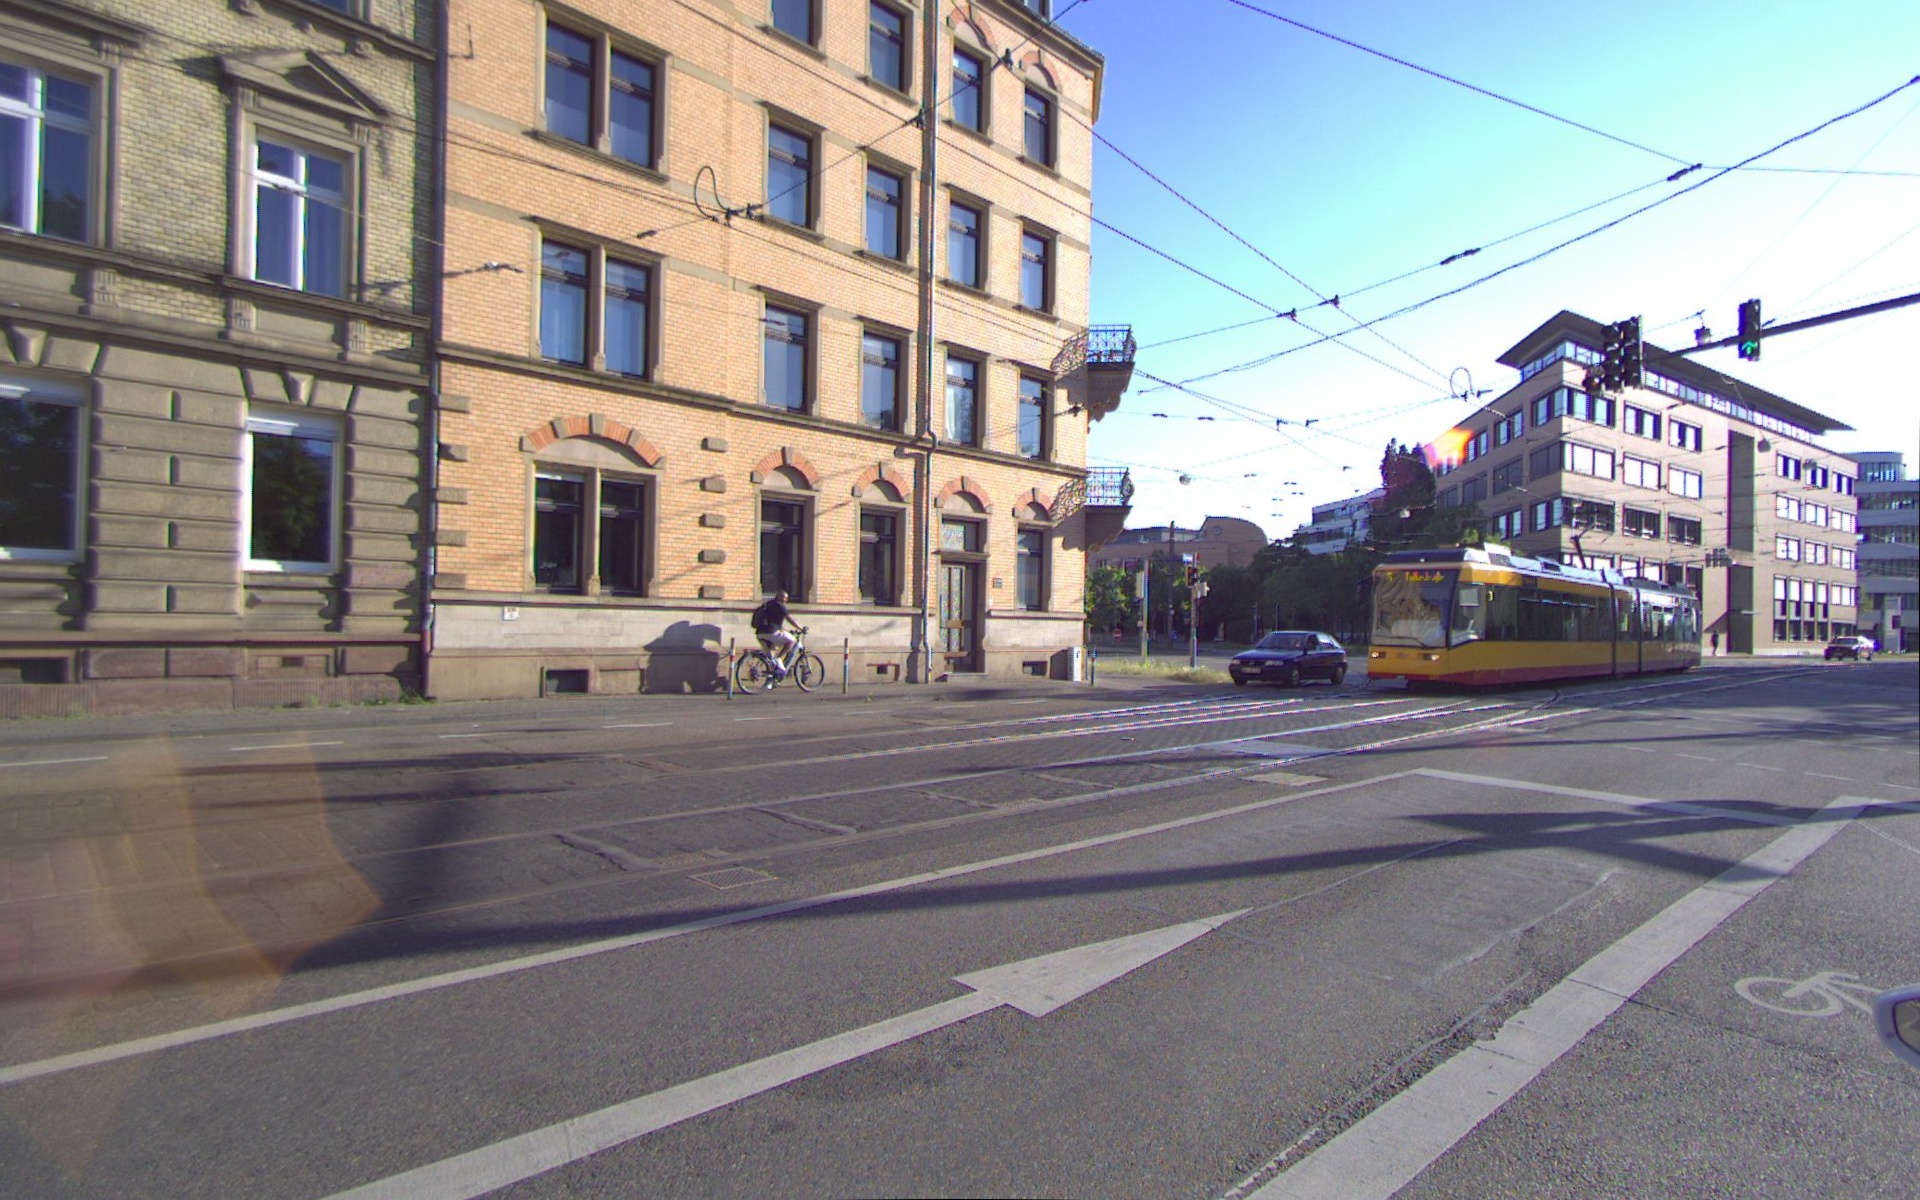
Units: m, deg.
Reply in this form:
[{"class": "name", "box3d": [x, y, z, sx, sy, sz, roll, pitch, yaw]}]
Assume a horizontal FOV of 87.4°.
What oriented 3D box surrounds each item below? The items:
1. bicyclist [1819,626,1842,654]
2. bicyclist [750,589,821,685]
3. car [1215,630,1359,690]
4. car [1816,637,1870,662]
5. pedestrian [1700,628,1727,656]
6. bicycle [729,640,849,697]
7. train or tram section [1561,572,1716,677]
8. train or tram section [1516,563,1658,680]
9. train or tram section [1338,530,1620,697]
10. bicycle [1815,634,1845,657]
[{"class": "bicyclist", "box3d": [67.641, 3.097, 78.053, 1.233, 2.040, 1.024, 3, 0, -32]}, {"class": "bicyclist", "box3d": [-3.076, 0.652, 17.737, 1.028, 1.634, 0.629, 2, -2, -42]}, {"class": "car", "box3d": [8.495, 1.517, 25.900, 4.134, 1.398, 1.791, 2, -2, -44]}, {"class": "car", "box3d": [62.252, 3.491, 70.800, 4.419, 1.636, 1.805, 2, -2, -34]}, {"class": "pedestrian", "box3d": [56.341, 3.165, 75.117, 1.538, 2.040, 1.232, 2, -2, -34]}, {"class": "bicycle", "box3d": [-3.003, 1.188, 17.793, 2.073, 0.952, 0.640, 2, -2, -43]}, {"class": "train or tram section", "box3d": [26.640, 1.024, 39.103, 11.223, 3.554, 2.832, 2, -2, -45]}, {"class": "train or tram section", "box3d": [20.855, 0.749, 33.316, 5.269, 3.554, 2.832, 2, -2, -44]}, {"class": "train or tram section", "box3d": [14.399, 0.493, 26.899, 12.929, 3.554, 2.832, 2, -2, -45]}, {"class": "bicycle", "box3d": [67.599, 3.538, 78.035, 2.531, 1.673, 1.025, 2, -2, -32]}]
